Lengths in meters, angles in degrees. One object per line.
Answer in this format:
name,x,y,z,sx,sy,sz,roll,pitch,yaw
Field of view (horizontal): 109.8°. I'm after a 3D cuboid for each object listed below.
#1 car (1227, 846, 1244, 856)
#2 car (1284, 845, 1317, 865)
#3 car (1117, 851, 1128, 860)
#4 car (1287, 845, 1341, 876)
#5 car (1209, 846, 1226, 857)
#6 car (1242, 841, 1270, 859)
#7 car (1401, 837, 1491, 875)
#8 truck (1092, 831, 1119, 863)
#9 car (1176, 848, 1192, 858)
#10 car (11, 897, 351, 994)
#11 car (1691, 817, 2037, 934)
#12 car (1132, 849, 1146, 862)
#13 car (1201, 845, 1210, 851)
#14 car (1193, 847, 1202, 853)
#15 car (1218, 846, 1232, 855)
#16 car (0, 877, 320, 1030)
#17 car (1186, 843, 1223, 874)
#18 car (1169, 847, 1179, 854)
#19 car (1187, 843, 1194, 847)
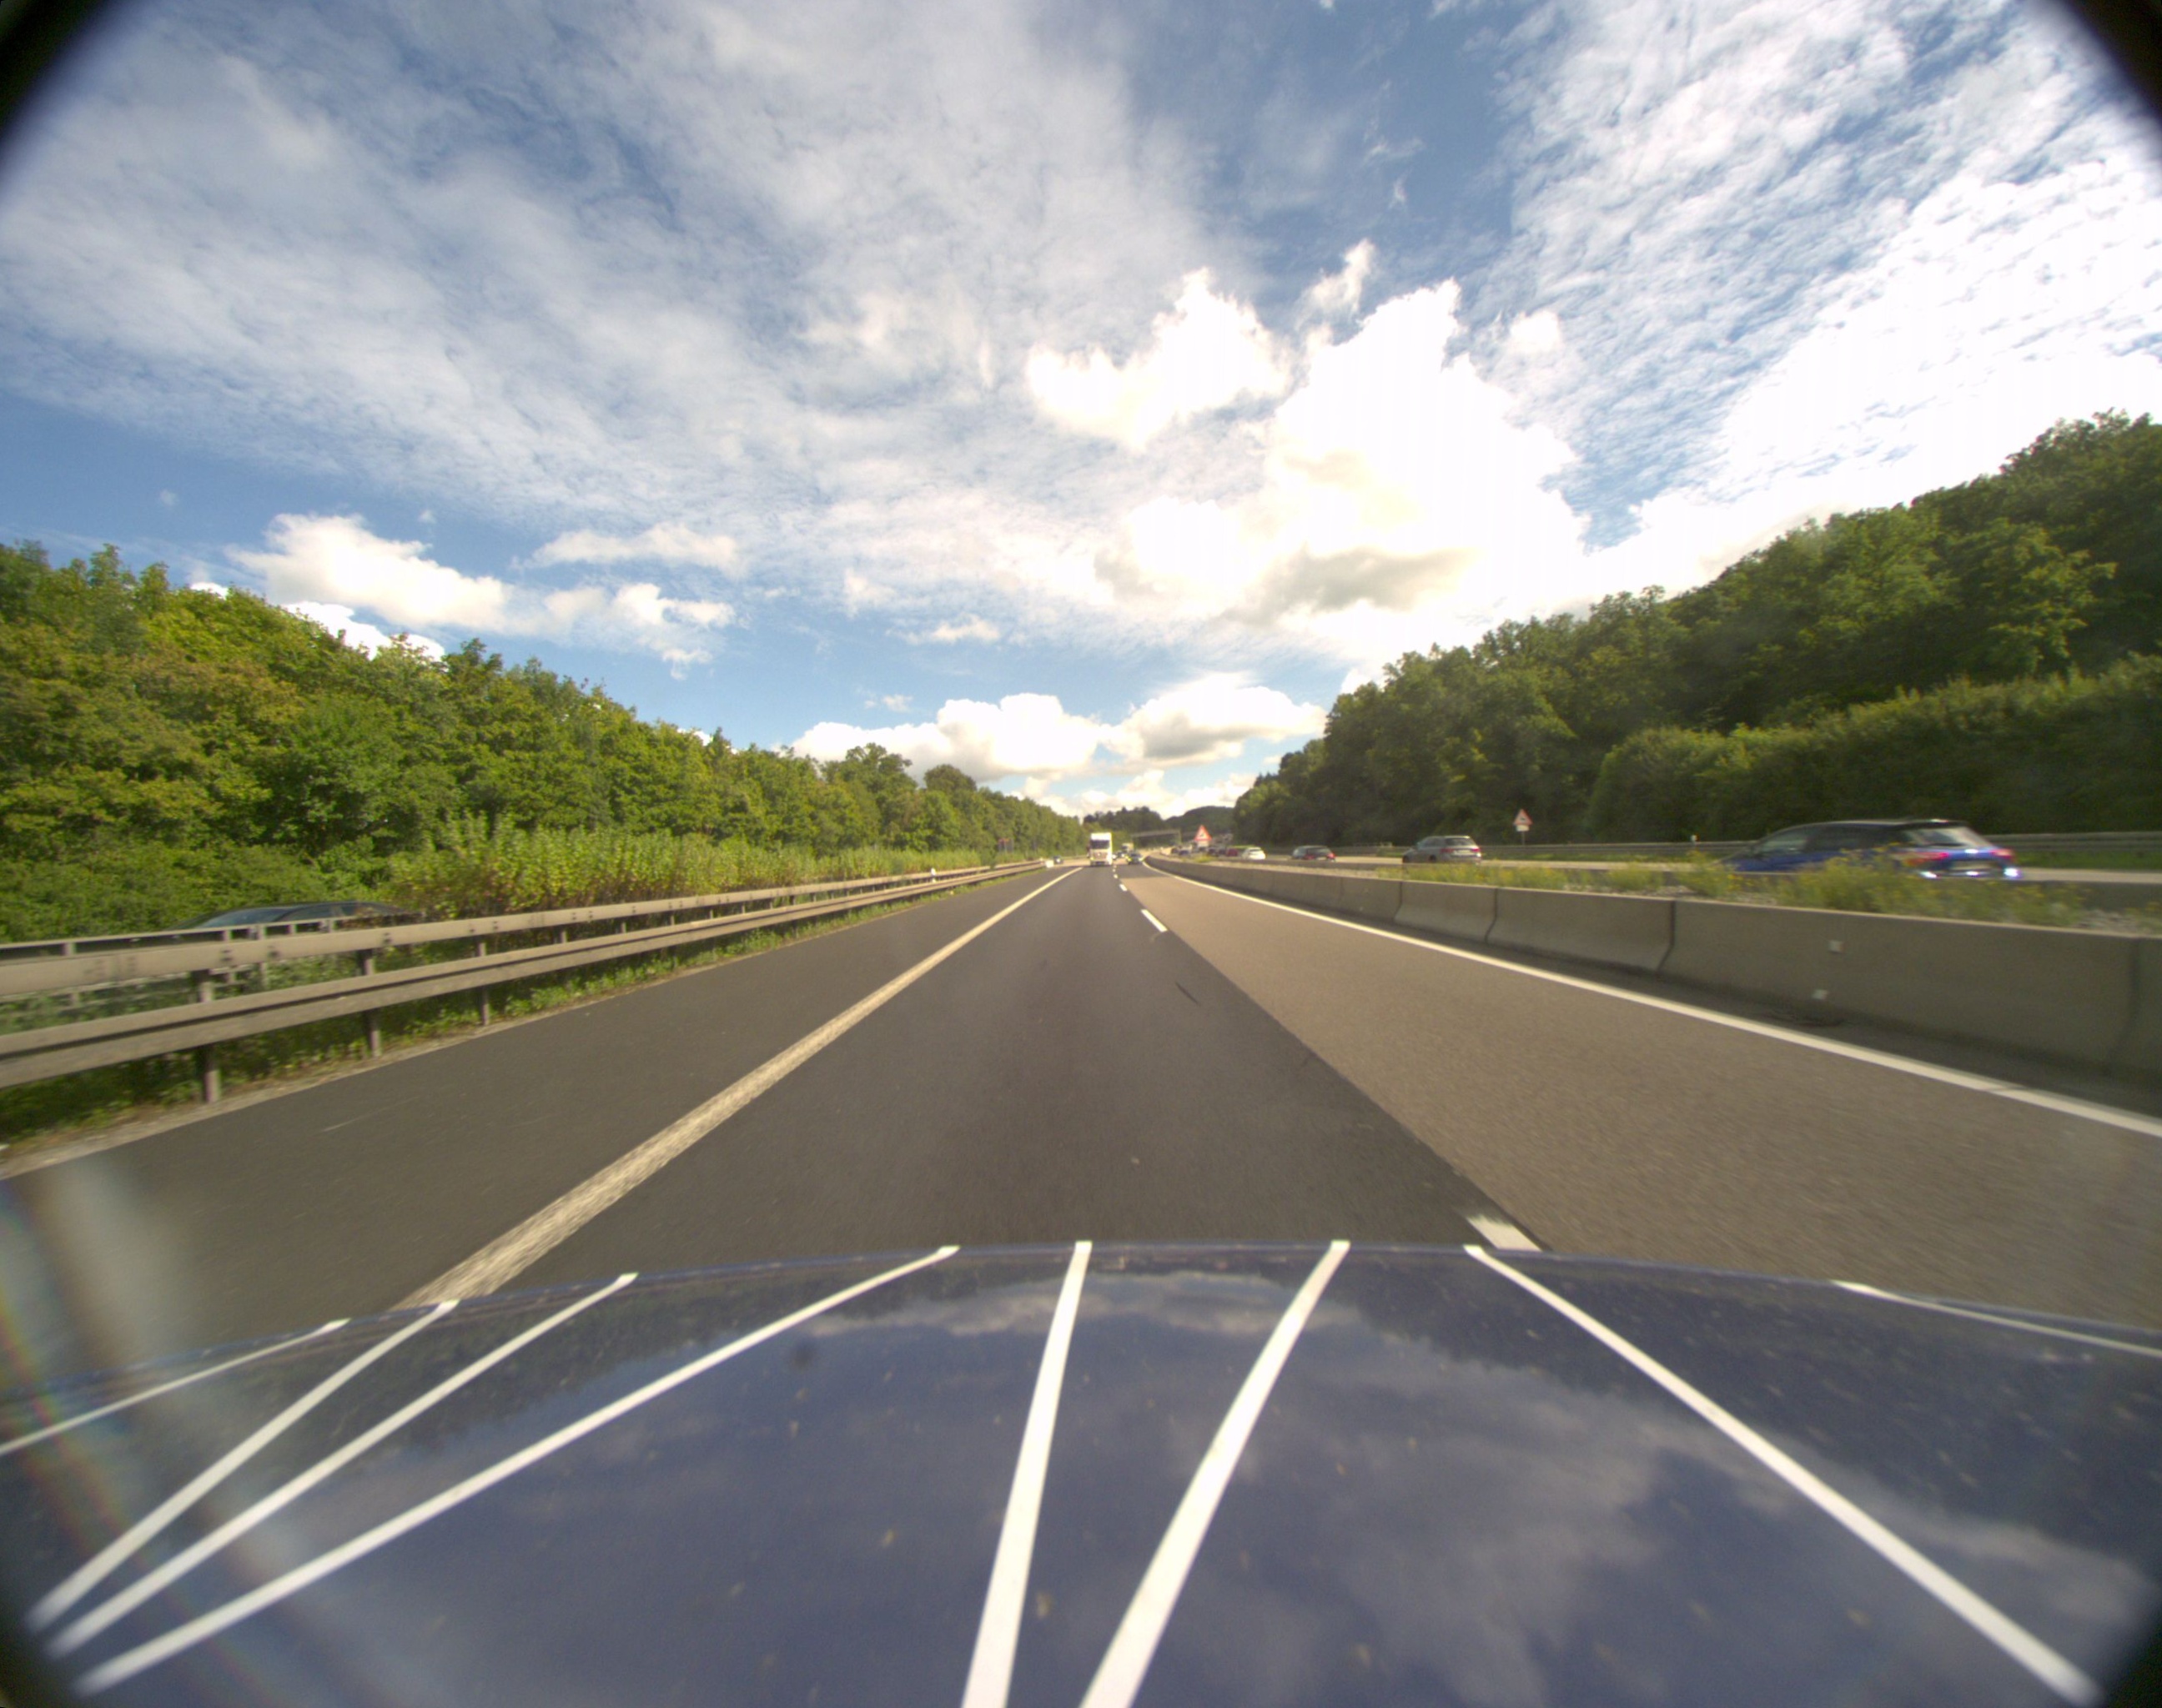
car,24.360,-0.532,120.048,1.810,1.497,4.000,-3,0,1
car,16.208,0.055,56.286,1.487,1.333,3.303,-3,0,1
car,9.111,0.308,166.669,1.998,2.002,3.999,-2,1,1
car,12.216,0.306,40.031,1.602,1.489,4.064,-3,0,1
car,20.528,-0.336,114.638,1.810,1.497,4.000,-3,0,1
car,18.015,-0.381,78.376,2.104,1.743,4.000,-3,0,3
car,16.159,0.067,33.952,1.837,1.522,4.547,-3,0,1
truck,3.135,-0.904,95.211,2.795,3.562,11.460,-2,1,4
car,16.127,-0.126,119.122,1.810,1.497,4.000,-3,0,1
car,-19.765,1.907,17.144,1.771,1.501,4.871,-3,0,1
car,12.252,0.288,12.309,1.602,1.521,3.842,-3,0,0
car,7.193,0.211,94.315,1.662,1.464,4.001,-3,0,5
car,34.421,-1.646,210.379,1.810,1.497,4.000,-3,0,1
car,28.837,-0.999,188.094,1.810,1.497,4.000,-3,0,1
car,26.843,-0.695,142.070,1.810,1.497,4.000,-3,0,1
car,-16.165,1.498,12.637,1.999,2.002,4.909,-3,0,0
car,8.700,0.332,53.865,1.998,2.022,4.000,-2,0,1
car,22.453,-0.774,182.998,1.810,1.497,4.000,-3,0,1
car,36.592,-2.975,253.900,1.810,1.497,4.000,-3,0,1
